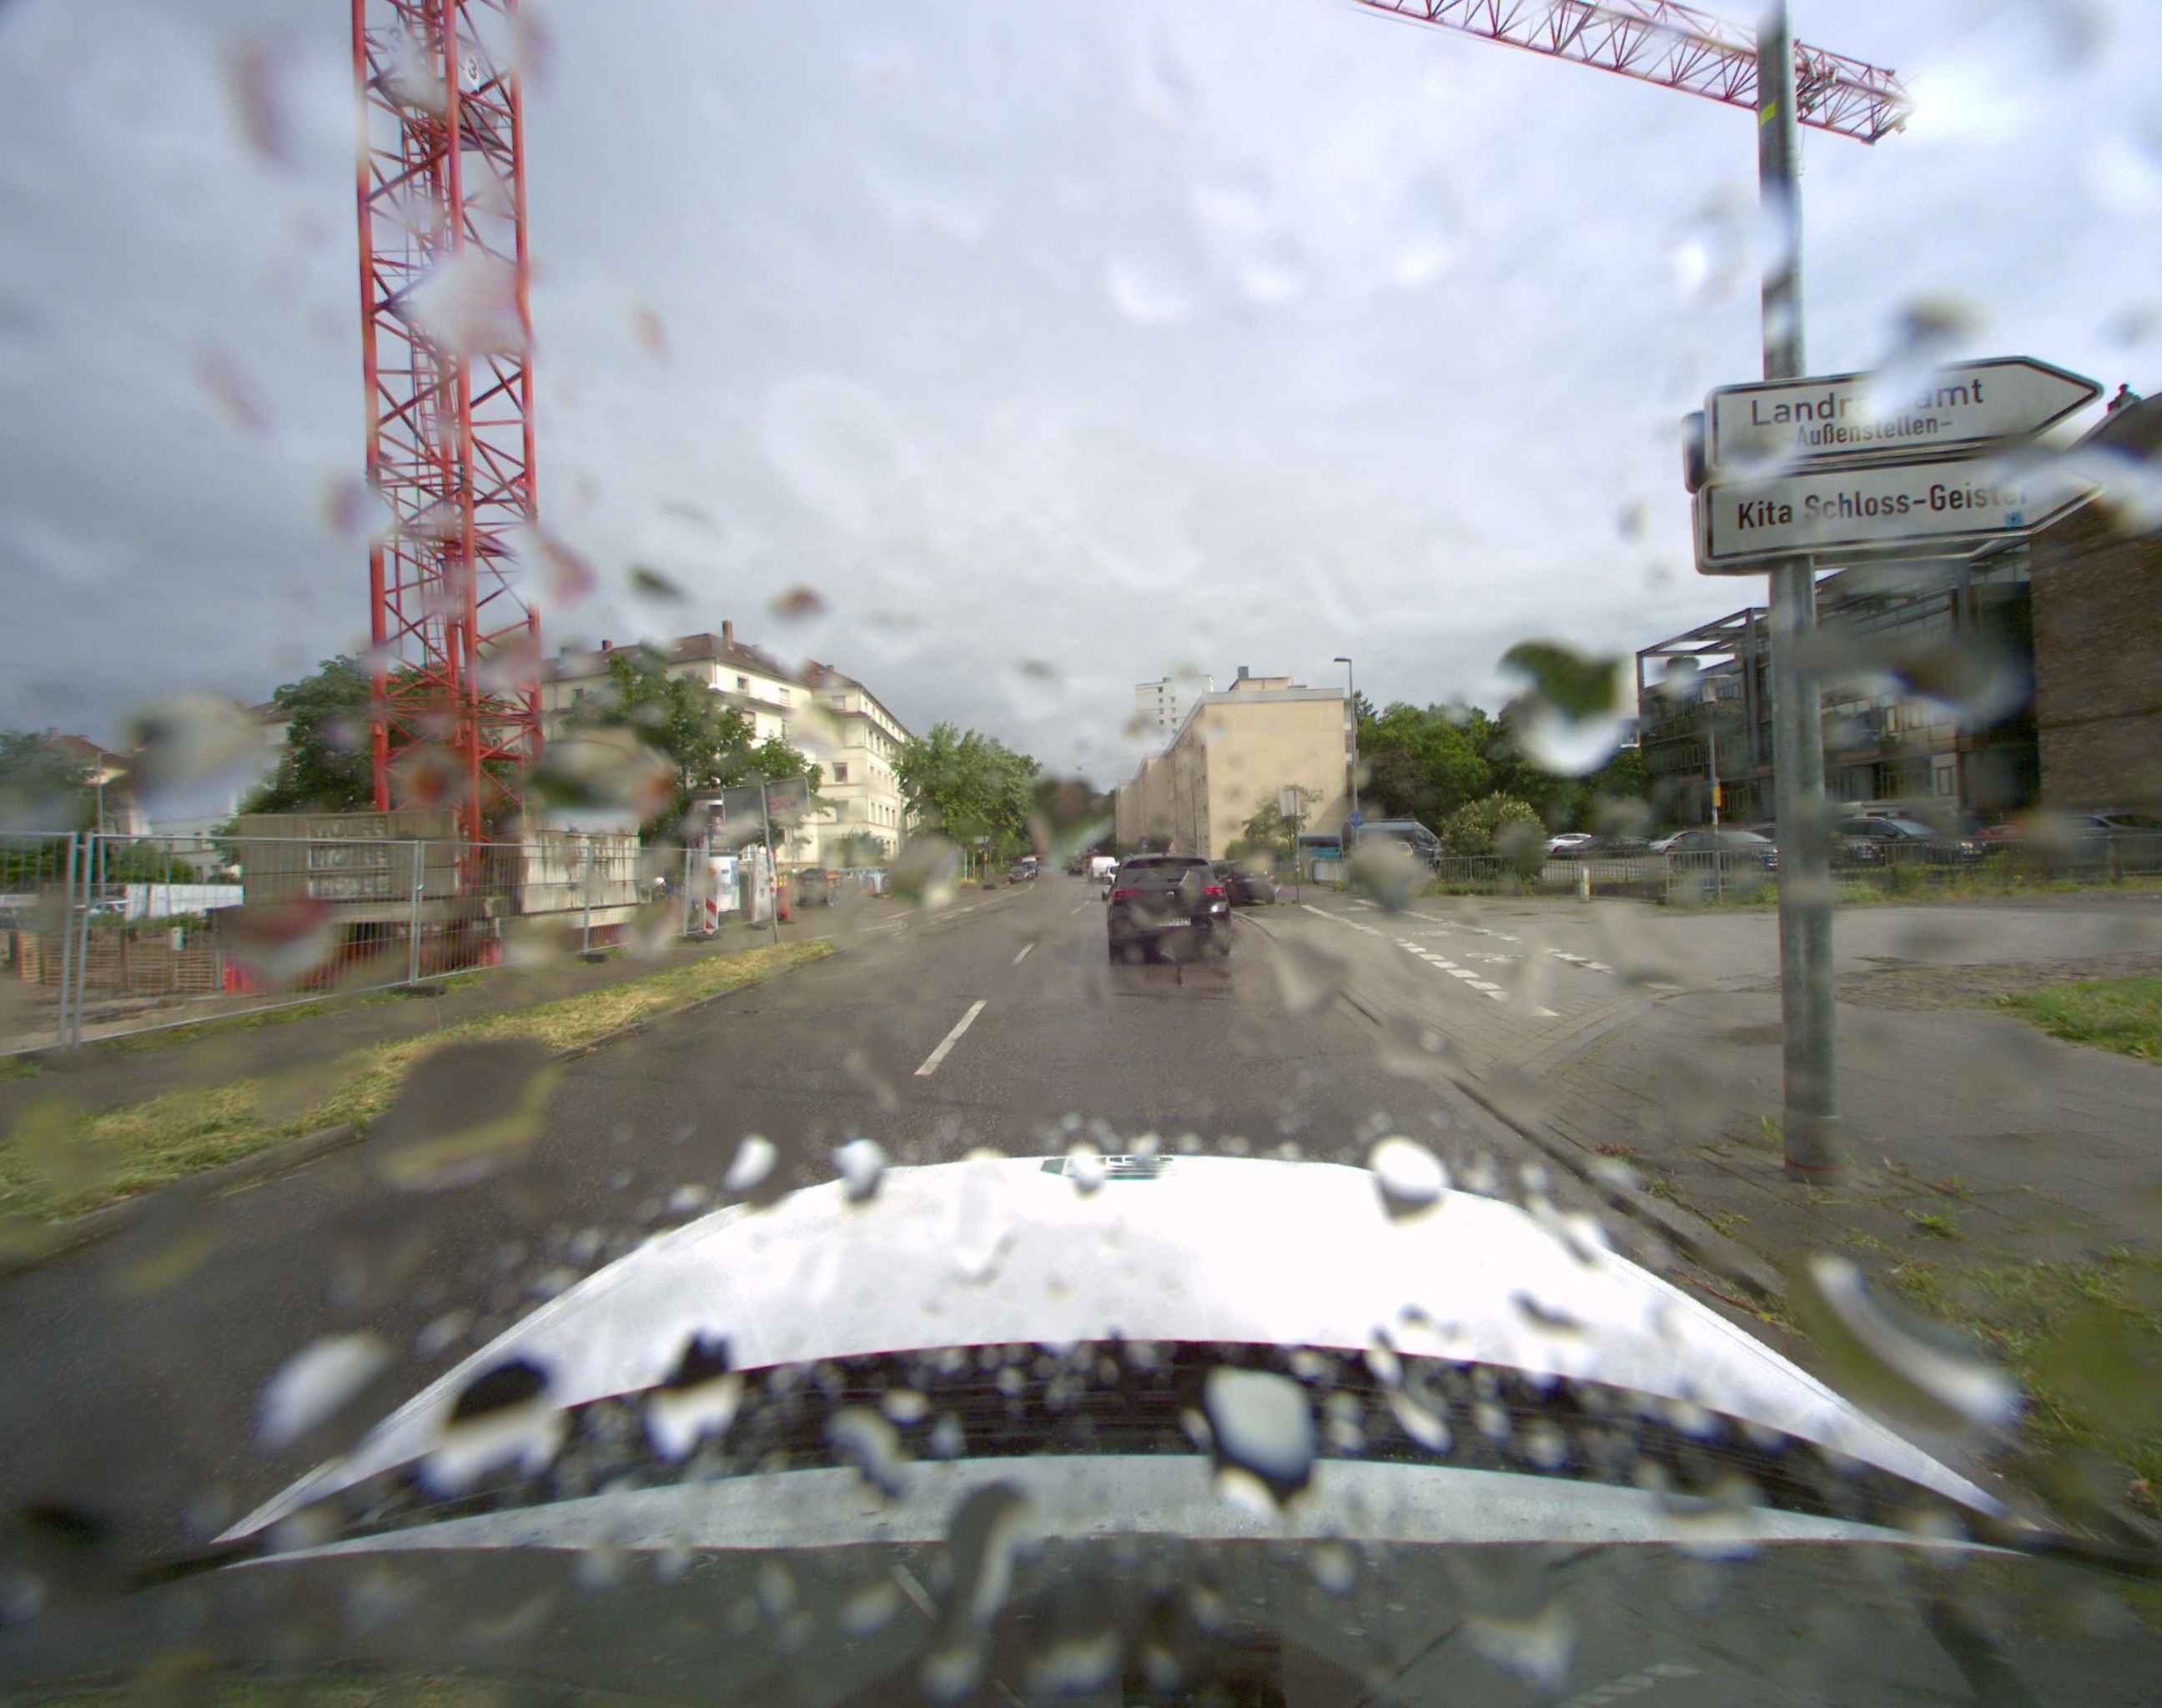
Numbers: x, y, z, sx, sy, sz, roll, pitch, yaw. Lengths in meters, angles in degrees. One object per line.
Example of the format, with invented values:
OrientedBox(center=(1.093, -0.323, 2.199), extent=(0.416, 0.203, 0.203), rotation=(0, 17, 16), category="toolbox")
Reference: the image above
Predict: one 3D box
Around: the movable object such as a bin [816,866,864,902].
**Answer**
OrientedBox(center=(-11.766, 1.459, 39.818), extent=(1.525, 1.656, 1.535), rotation=(-3, 0, 20), category="movable object such as a bin")

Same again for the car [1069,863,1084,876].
OrientedBox(center=(-0.599, 1.859, 98.104), extent=(1.601, 1.510, 3.544), rotation=(-3, -1, -3), category="car")

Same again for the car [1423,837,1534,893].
OrientedBox(center=(13.909, 0.375, 28.779), extent=(1.798, 1.750, 4.237), rotation=(-3, -1, 0), category="car")

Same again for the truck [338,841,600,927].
OrientedBox(center=(-26.747, 1.303, 35.719), extent=(9.740, 3.184, 3.807), rotation=(-3, -1, 14), category="truck")

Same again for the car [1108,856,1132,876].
OrientedBox(center=(3.387, 1.040, 71.130), extent=(1.691, 1.539, 4.029), rotation=(-3, -1, -2), category="car")

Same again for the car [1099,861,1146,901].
OrientedBox(center=(1.627, 1.091, 33.120), extent=(1.807, 1.503, 4.000), rotation=(0, -1, 1), category="car")

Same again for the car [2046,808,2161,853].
OrientedBox(center=(39.571, -0.898, 30.968), extent=(3.652, 1.524, 1.673), rotation=(-3, -1, 2), category="car")

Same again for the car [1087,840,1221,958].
OrientedBox(center=(1.059, 0.670, 13.442), extent=(1.866, 1.645, 4.062), rotation=(-1, -1, 1), category="car")

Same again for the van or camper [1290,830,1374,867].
OrientedBox(center=(16.048, -0.328, 52.288), extent=(4.737, 2.131, 2.324), rotation=(-2, 0, 4), category="van or camper")

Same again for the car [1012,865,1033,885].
OrientedBox(center=(-4.790, 1.725, 67.179), extent=(1.583, 1.506, 4.059), rotation=(-3, -1, -3), category="car")

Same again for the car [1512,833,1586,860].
OrientedBox(center=(29.833, -0.487, 51.985), extent=(3.650, 1.486, 1.641), rotation=(-3, -1, 4), category="car")

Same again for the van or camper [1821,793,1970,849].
OrientedBox(center=(38.486, -1.528, 38.580), extent=(4.770, 2.487, 2.258), rotation=(0, -2, 0), category="van or camper")

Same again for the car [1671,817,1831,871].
OrientedBox(center=(21.524, -0.285, 26.451), extent=(1.820, 1.527, 4.430), rotation=(-3, -1, 6), category="car")

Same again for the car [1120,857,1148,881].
OrientedBox(center=(3.898, 1.080, 60.652), extent=(1.601, 1.661, 4.027), rotation=(-1, 0, -4), category="car")

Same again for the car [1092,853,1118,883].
OrientedBox(center=(1.719, 1.034, 59.773), extent=(1.830, 2.103, 3.999), rotation=(0, -1, 0), category="car")

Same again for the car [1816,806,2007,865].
OrientedBox(center=(27.028, -0.531, 26.771), extent=(1.845, 1.679, 4.427), rotation=(-3, -1, 3), category="car")

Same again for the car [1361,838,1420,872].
OrientedBox(center=(14.498, 0.068, 38.286), extent=(1.603, 1.449, 3.420), rotation=(-3, -1, 4), category="car")

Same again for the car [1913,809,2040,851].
OrientedBox(center=(39.441, -1.046, 35.932), extent=(3.652, 1.576, 1.673), rotation=(-3, -1, 2), category="car")

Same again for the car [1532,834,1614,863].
OrientedBox(center=(28.228, -0.307, 46.816), extent=(3.650, 1.486, 1.641), rotation=(-3, -1, 4), category="car")

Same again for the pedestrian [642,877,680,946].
OrientedBox(center=(-10.270, 1.380, 19.915), extent=(0.727, 1.630, 0.676), rotation=(1, -2, -37), category="pedestrian")

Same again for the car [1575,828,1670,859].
OrientedBox(center=(29.355, -0.561, 44.201), extent=(3.958, 1.465, 1.673), rotation=(-3, -1, 2), category="car")

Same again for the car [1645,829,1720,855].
OrientedBox(center=(39.568, -0.769, 53.631), extent=(3.652, 1.486, 1.673), rotation=(-2, -1, 2), category="car")

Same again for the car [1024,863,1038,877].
OrientedBox(center=(-6.336, 1.958, 103.099), extent=(1.583, 1.639, 3.915), rotation=(-3, -1, -3), category="car")

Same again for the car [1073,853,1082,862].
OrientedBox(center=(-0.806, 0.693, 169.259), extent=(1.661, 1.838, 3.998), rotation=(-3, 0, -1), category="car")

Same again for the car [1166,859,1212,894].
OrientedBox(center=(5.059, 1.074, 38.568), extent=(1.750, 1.528, 4.002), rotation=(-1, -2, 2), category="car")

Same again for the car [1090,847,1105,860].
OrientedBox(center=(2.145, -0.048, 106.391), extent=(1.834, 1.608, 3.677), rotation=(-4, -1, 2), category="car")

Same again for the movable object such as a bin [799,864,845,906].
OrientedBox(center=(-12.151, 1.457, 38.280), extent=(1.525, 1.824, 1.270), rotation=(-3, 0, 20), category="movable object such as a bin")

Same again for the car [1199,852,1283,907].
OrientedBox(center=(5.202, 0.803, 27.050), extent=(1.769, 1.539, 4.376), rotation=(-5, -1, 0), category="car")

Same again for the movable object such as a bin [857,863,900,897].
OrientedBox(center=(-10.665, 1.377, 42.890), extent=(1.525, 1.662, 1.466), rotation=(-3, 0, 20), category="movable object such as a bin")

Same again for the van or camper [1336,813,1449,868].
OrientedBox(center=(16.034, -0.656, 42.166), extent=(4.979, 2.554, 2.176), rotation=(-2, -2, 2), category="van or camper")

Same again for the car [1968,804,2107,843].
OrientedBox(center=(39.261, -1.222, 33.504), extent=(3.652, 1.486, 1.673), rotation=(-1, -1, 2), category="car")

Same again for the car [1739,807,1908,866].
OrientedBox(center=(24.326, -0.516, 26.926), extent=(1.843, 1.679, 4.431), rotation=(-3, -1, 7), category="car")

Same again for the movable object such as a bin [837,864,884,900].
OrientedBox(center=(-11.200, 1.429, 41.377), extent=(1.525, 1.674, 1.674), rotation=(-3, 0, 20), category="movable object such as a bin")
